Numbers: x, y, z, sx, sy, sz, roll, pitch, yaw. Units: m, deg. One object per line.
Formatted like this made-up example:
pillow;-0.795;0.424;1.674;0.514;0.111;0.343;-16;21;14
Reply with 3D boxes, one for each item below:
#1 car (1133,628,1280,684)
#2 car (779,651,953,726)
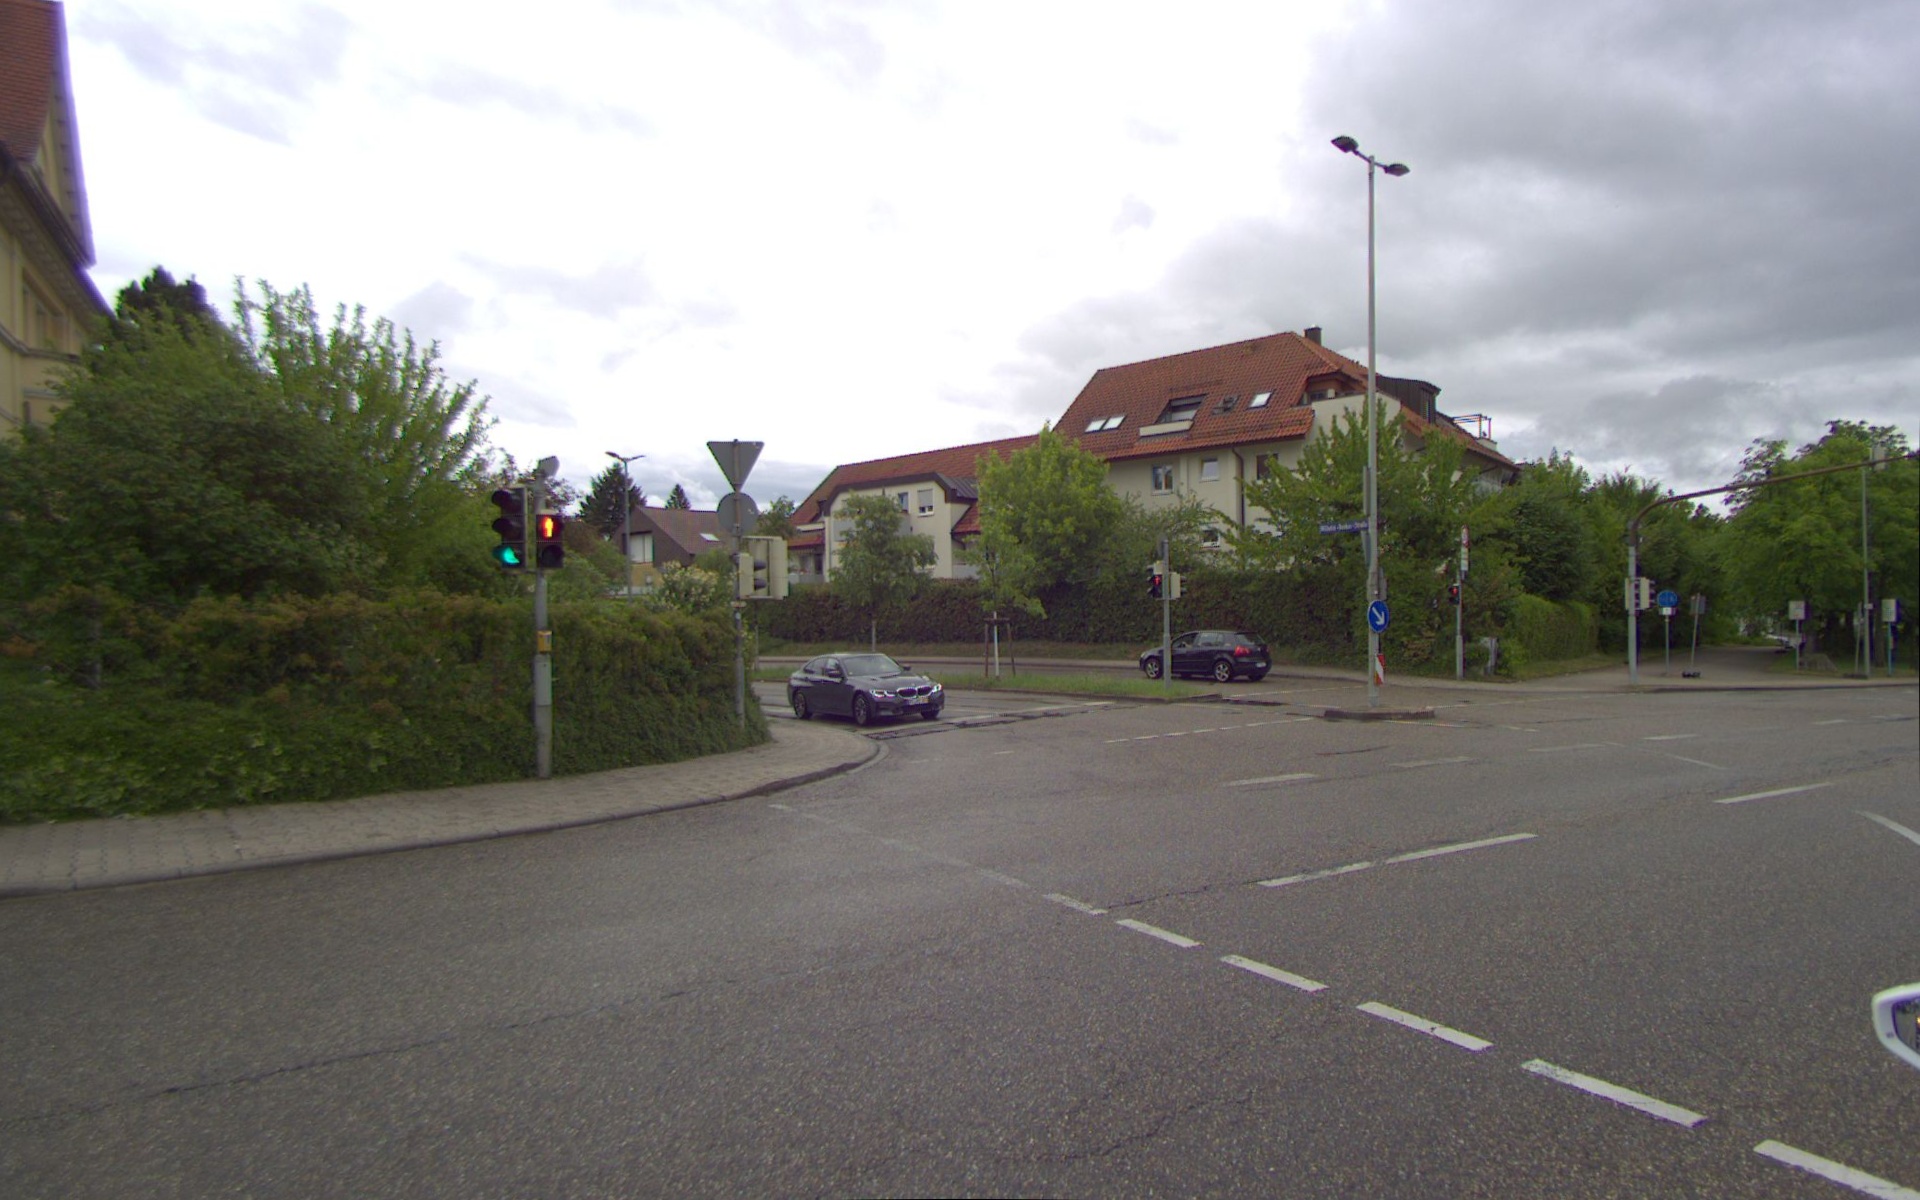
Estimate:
car;7.197;1.599;29.634;1.752;1.499;3.952;1;-1;-41
car;-2.149;1.859;21.783;1.759;1.411;4.391;0;-3;-36
